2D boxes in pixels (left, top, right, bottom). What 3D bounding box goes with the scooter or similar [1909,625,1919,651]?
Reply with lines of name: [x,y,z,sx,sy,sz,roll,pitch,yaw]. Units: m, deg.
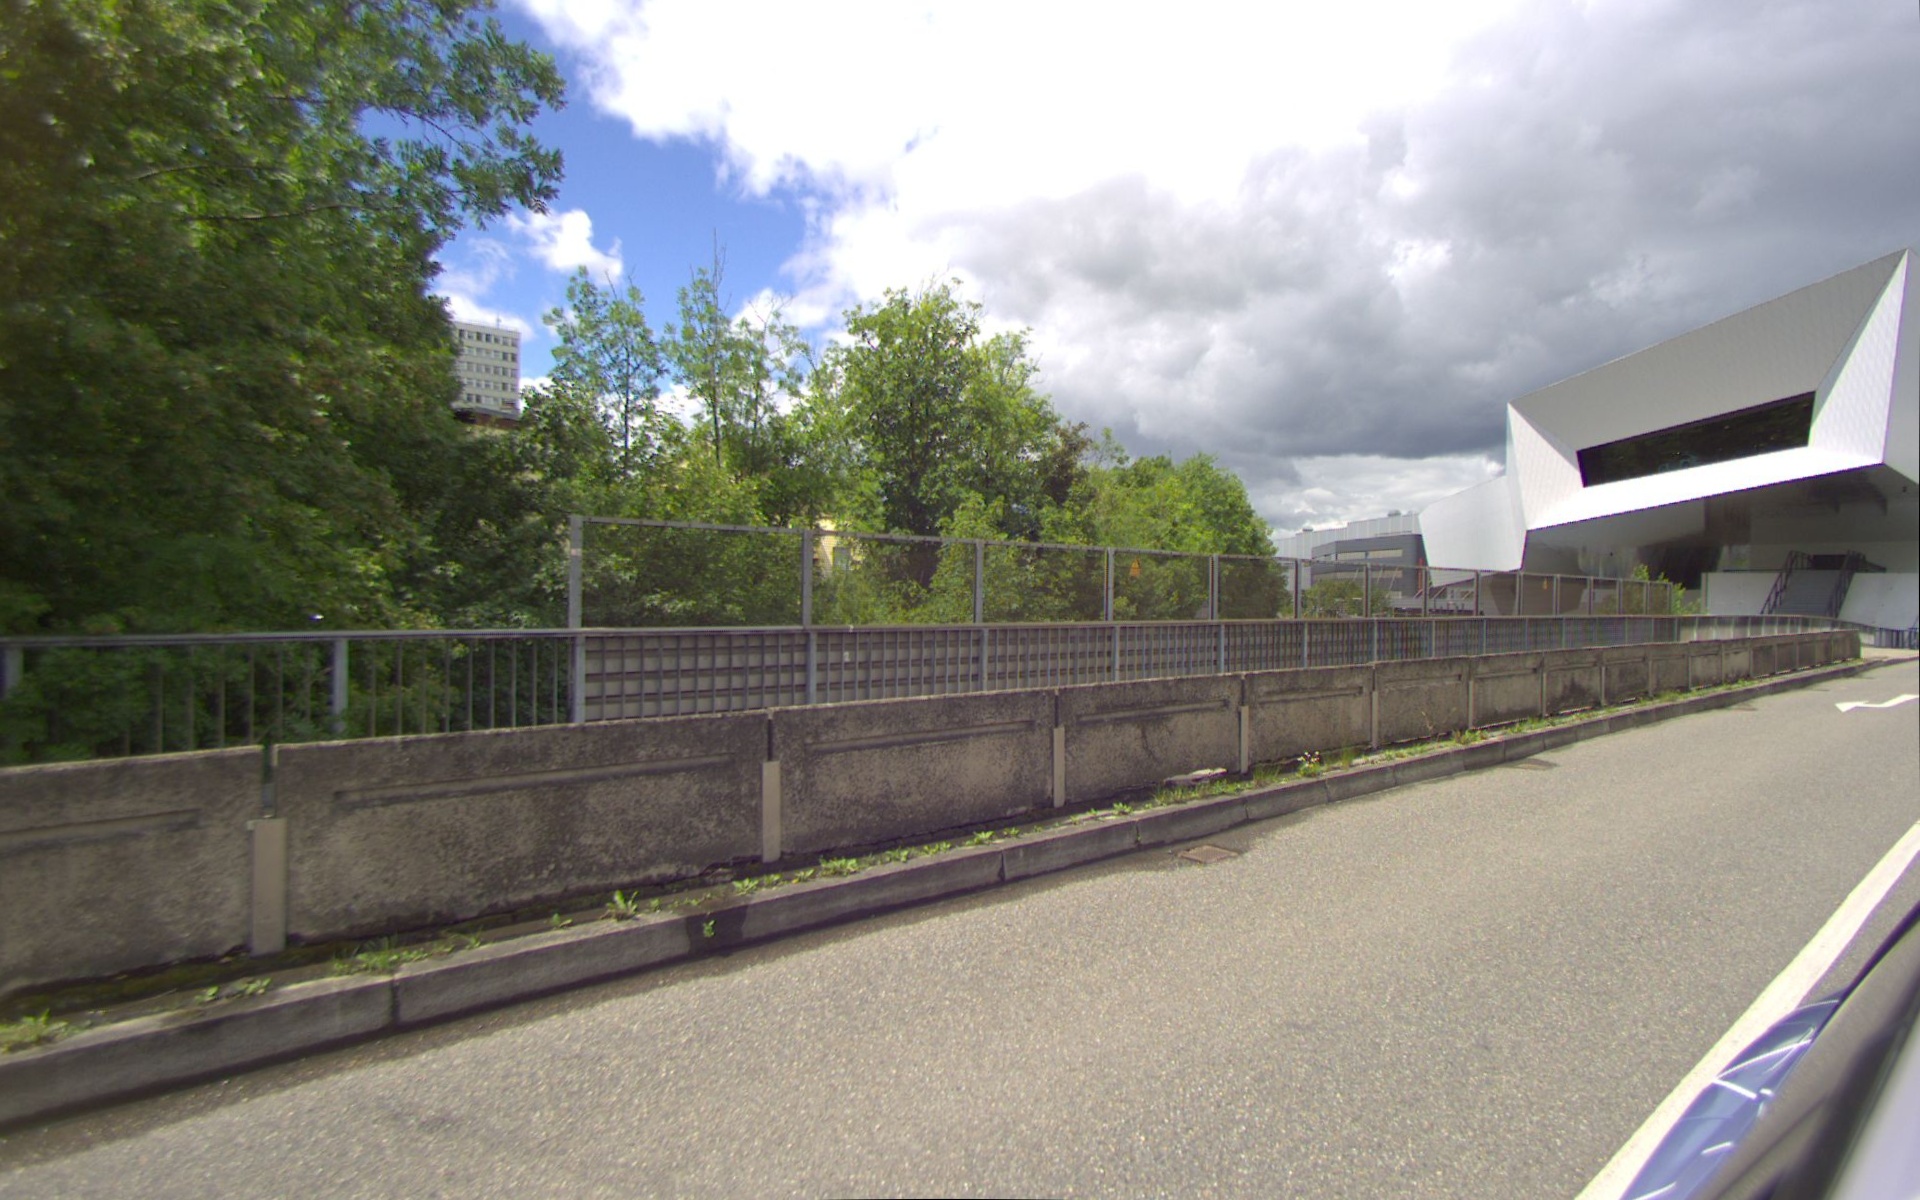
scooter or similar: [48.155,1.919,50.708,1.824,1.229,0.654,3,-1,-41]
